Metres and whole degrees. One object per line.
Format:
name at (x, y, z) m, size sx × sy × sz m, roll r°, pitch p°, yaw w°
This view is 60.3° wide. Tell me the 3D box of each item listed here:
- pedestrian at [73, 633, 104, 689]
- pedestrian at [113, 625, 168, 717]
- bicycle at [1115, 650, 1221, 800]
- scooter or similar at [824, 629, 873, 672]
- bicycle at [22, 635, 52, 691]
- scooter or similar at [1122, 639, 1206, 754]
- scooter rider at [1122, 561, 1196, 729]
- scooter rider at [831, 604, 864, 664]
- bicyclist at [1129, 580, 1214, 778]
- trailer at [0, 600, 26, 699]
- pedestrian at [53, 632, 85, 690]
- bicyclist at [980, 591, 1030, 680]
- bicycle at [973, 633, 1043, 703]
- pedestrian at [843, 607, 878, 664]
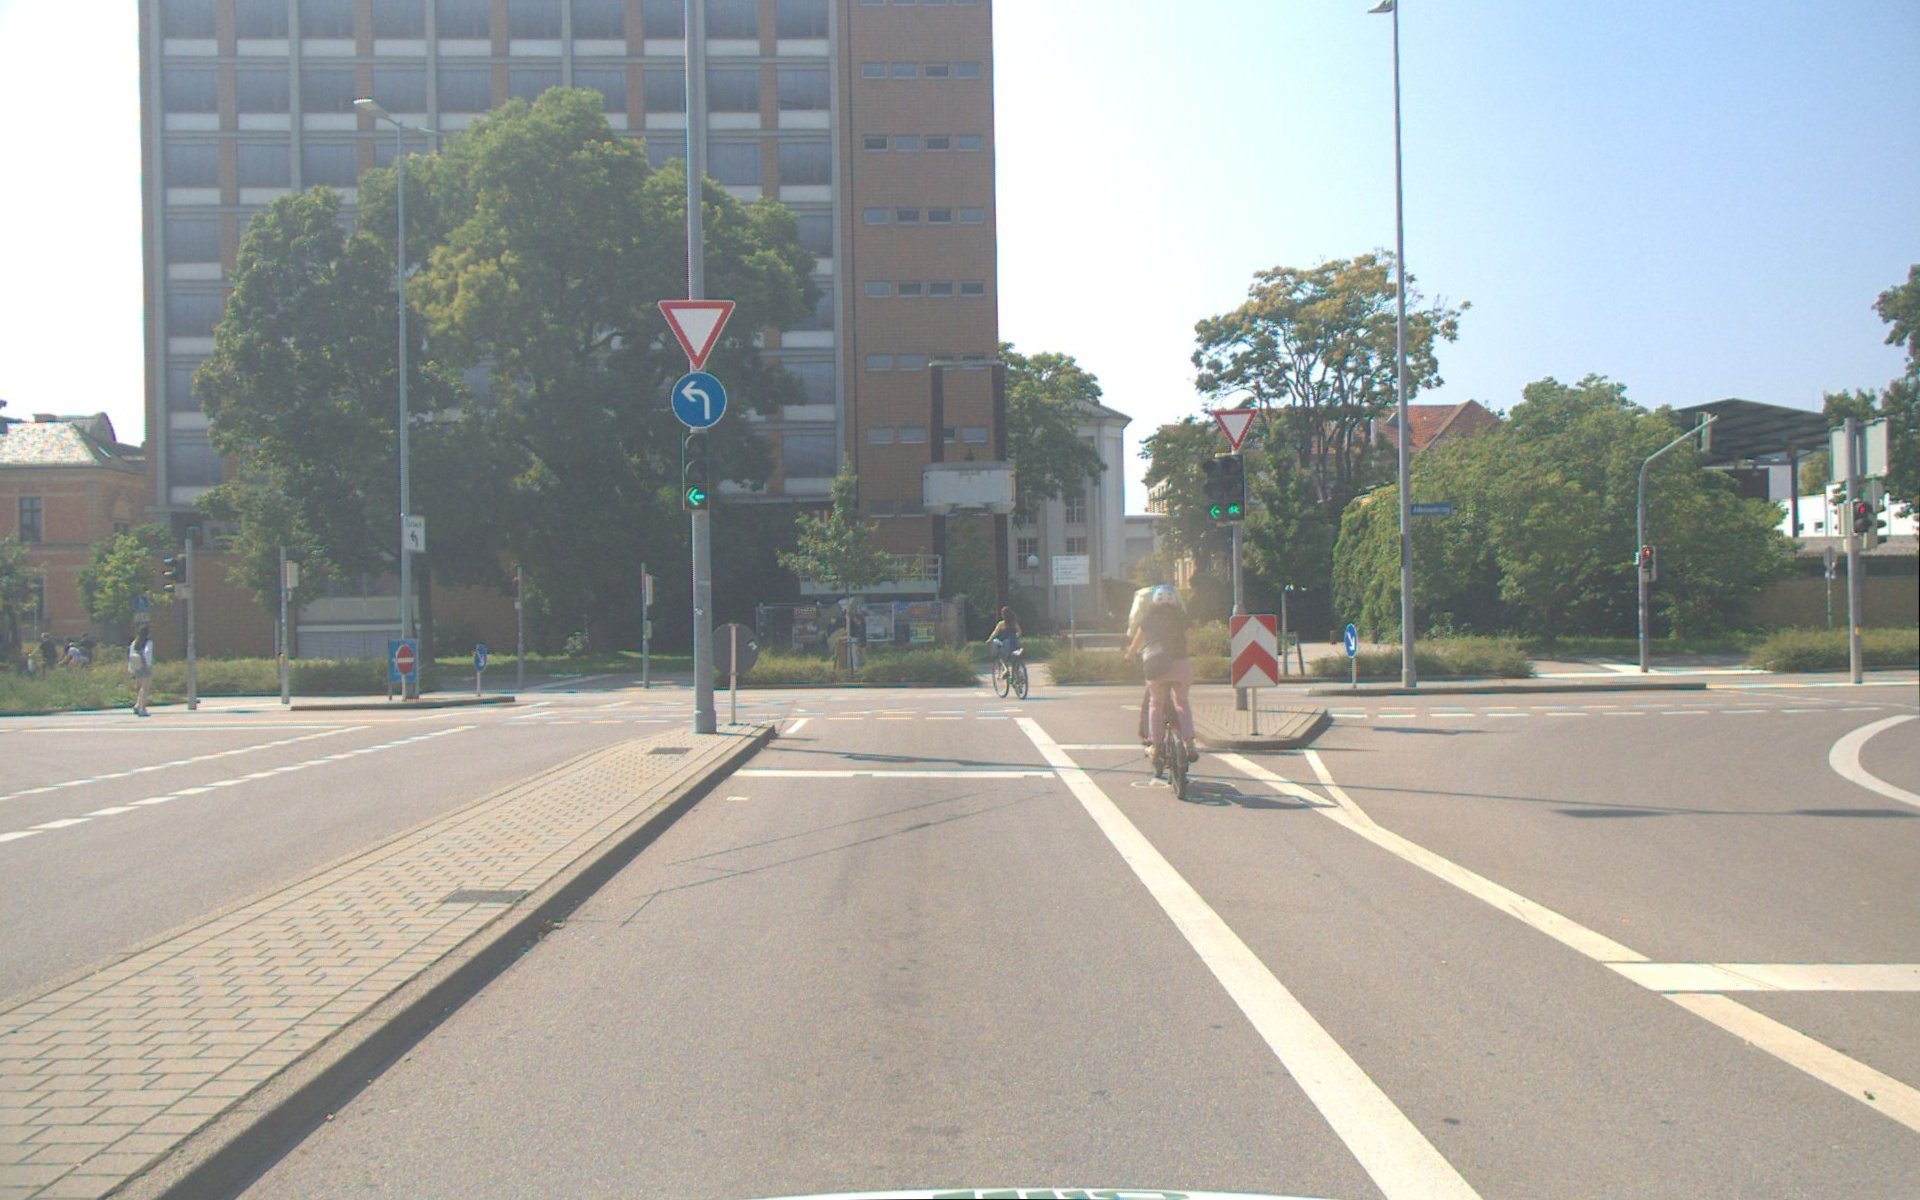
pedestrian at (-31.402, 2.193, 59.592) m, size 0.740 × 2.007 × 0.776 m, roll -2°, pitch -1°, yaw 41°
pedestrian at (-15.658, 1.346, 31.596) m, size 0.593 × 1.724 × 0.701 m, roll -2°, pitch -1°, yaw 16°
bicycle at (1.677, 0.982, 13.582) m, size 0.545 × 1.078 × 2.003 m, roll 0°, pitch 0°, yaw -2°
scooter or similar at (-3.327, 1.509, 49.400) m, size 1.334 × 1.256 × 0.586 m, roll -2°, pitch -1°, yaw 15°
bicycle at (-32.071, 2.187, 57.468) m, size 1.337 × 1.893 × 0.454 m, roll -2°, pitch -1°, yaw 39°
scooter or similar at (2.119, 0.976, 17.402) m, size 0.545 × 1.078 × 2.003 m, roll -2°, pitch 0°, yaw -2°
scooter rider at (2.101, 0.467, 17.545) m, size 0.657 × 1.729 × 0.539 m, roll -2°, pitch 0°, yaw -2°
scooter rider at (-3.346, 1.002, 49.340) m, size 0.785 × 1.770 × 0.689 m, roll -1°, pitch -1°, yaw 15°
bicyclist at (1.680, 0.610, 13.198) m, size 0.537 × 1.522 × 0.803 m, roll 0°, pitch -1°, yaw -2°
trailer at (-32.730, 1.603, 52.089) m, size 6.175 × 3.061 × 2.470 m, roll -1°, pitch -3°, yaw 22°
pedestrian at (-31.540, 2.159, 58.531) m, size 0.740 × 2.007 × 0.776 m, roll -2°, pitch -1°, yaw 41°
bicyclist at (0.846, 0.659, 31.242) m, size 0.679 × 1.626 × 0.841 m, roll -2°, pitch 1°, yaw -14°
bicycle at (0.880, 1.255, 31.209) m, size 0.682 × 1.175 × 2.362 m, roll -2°, pitch 1°, yaw -14°
pedestrian at (-3.084, 1.105, 51.492) m, size 0.857 × 1.734 × 0.708 m, roll -2°, pitch 1°, yaw 15°
